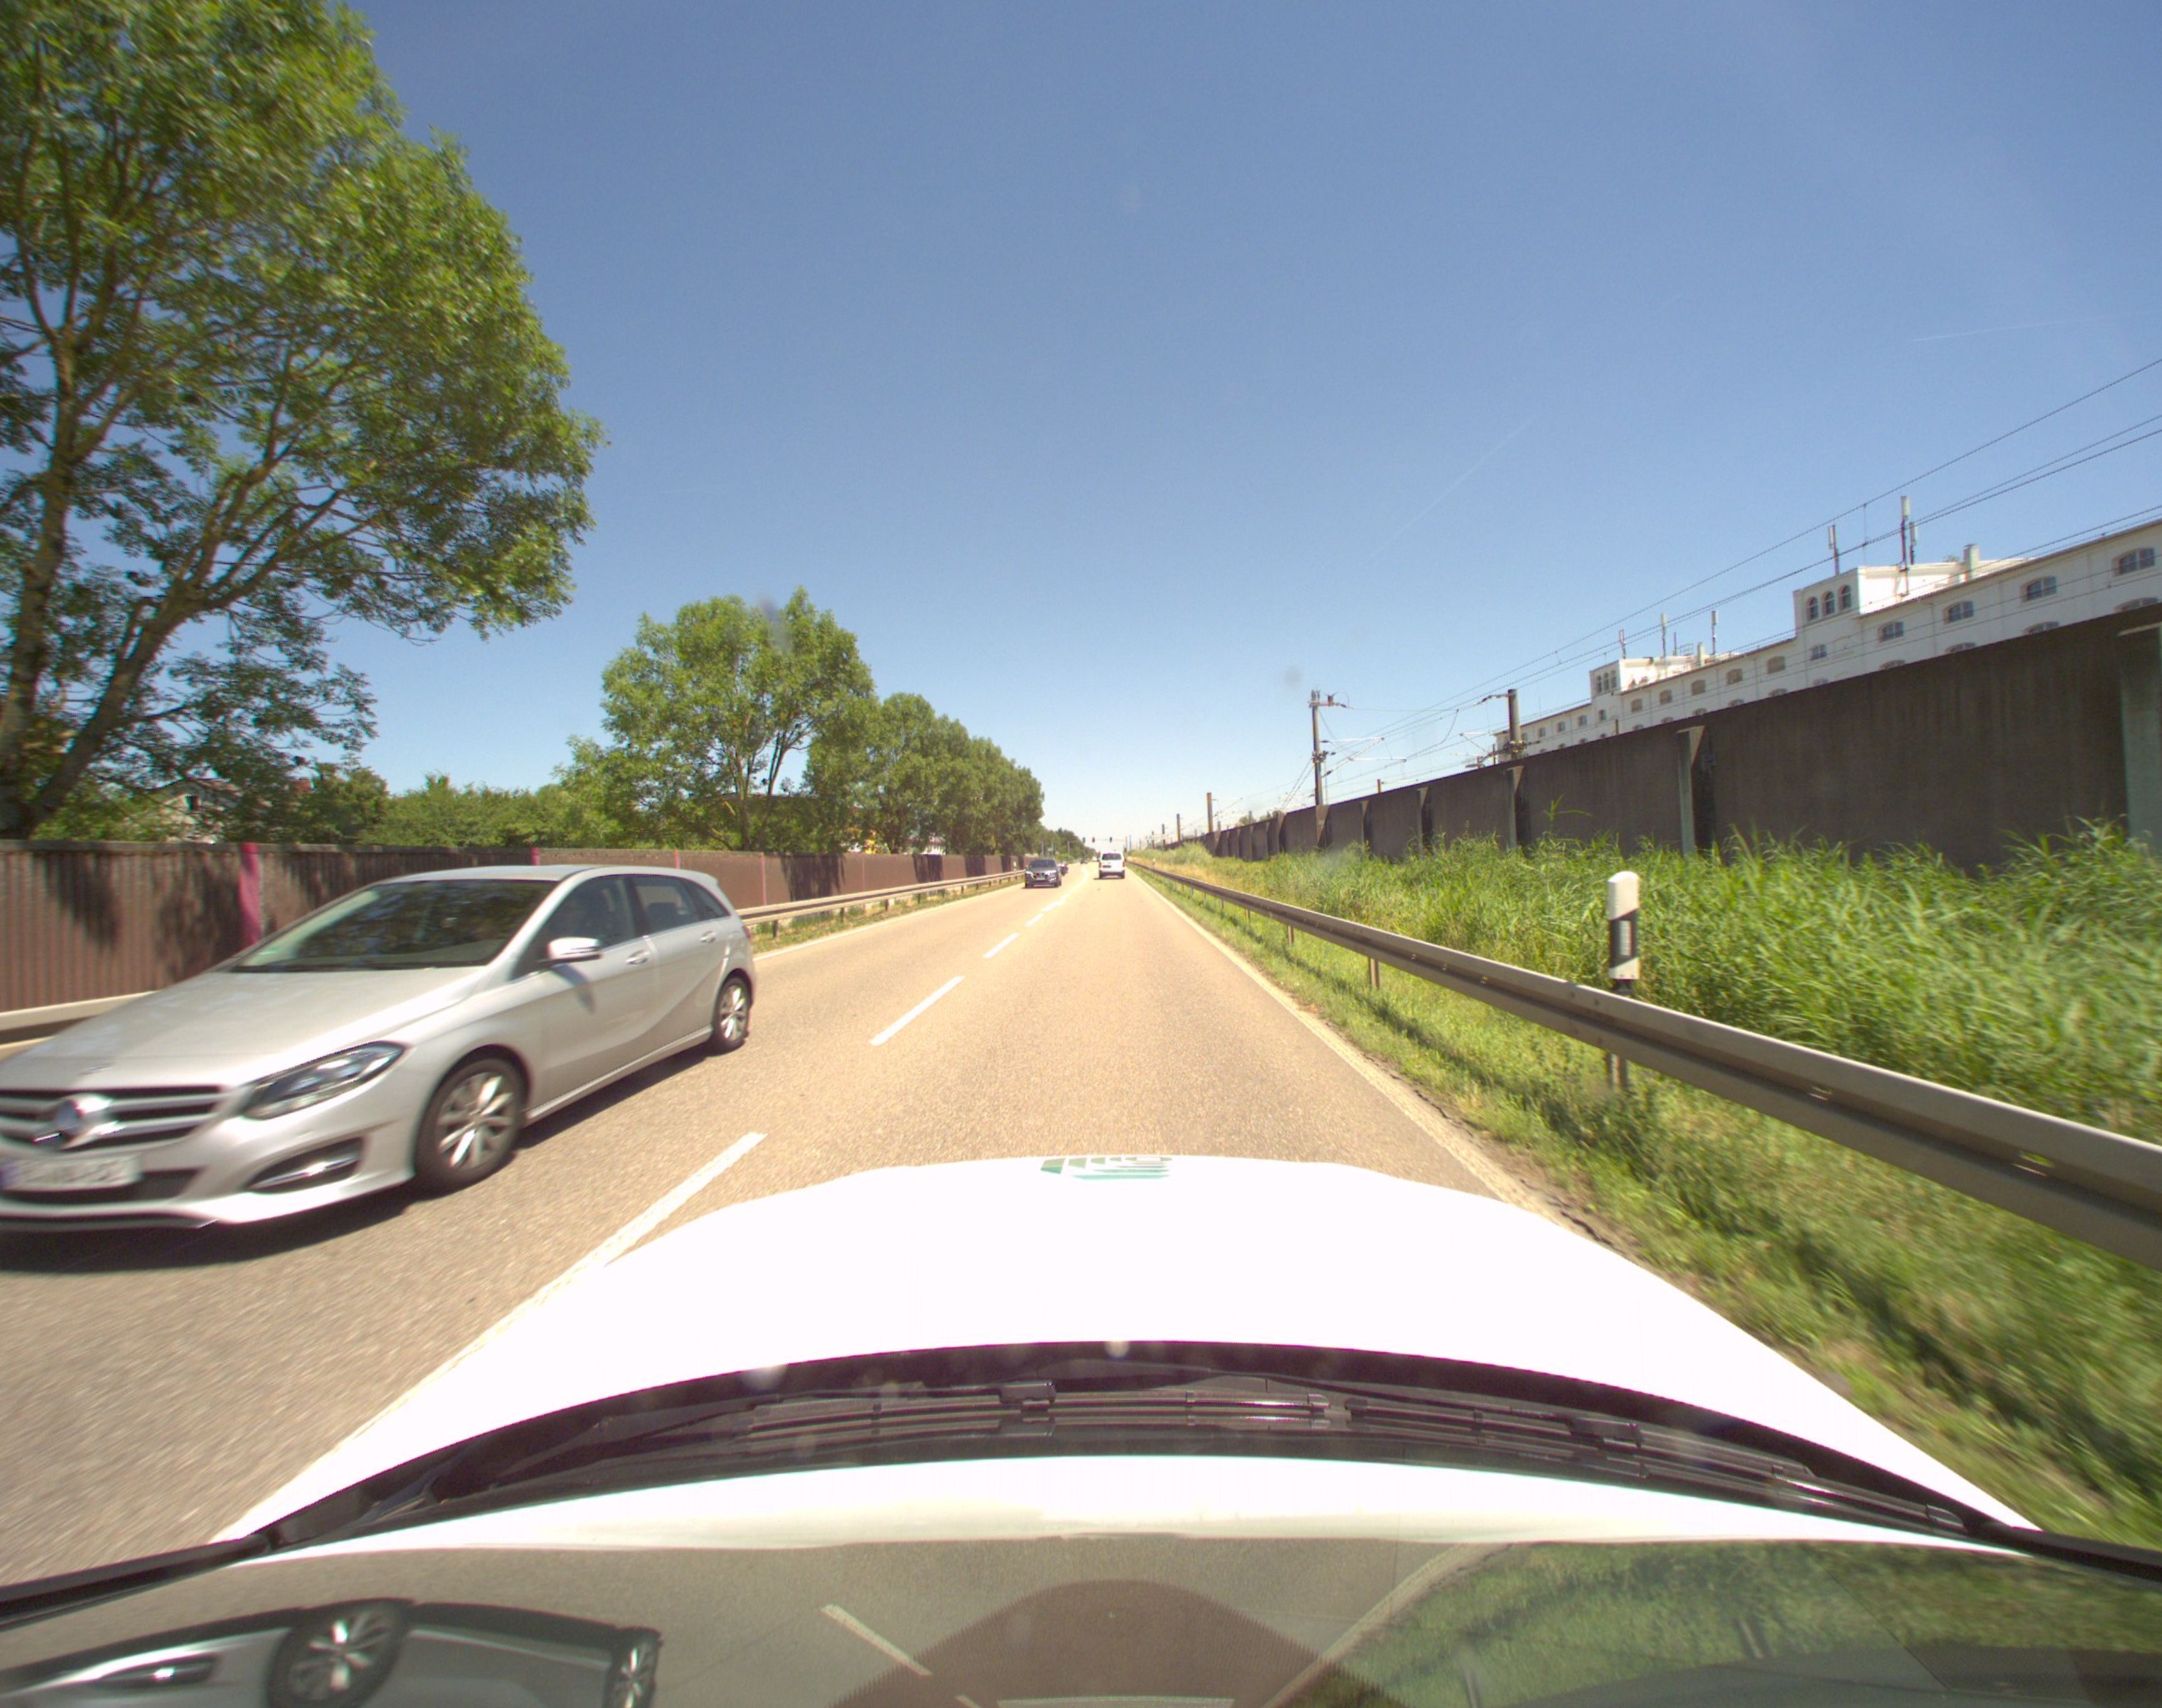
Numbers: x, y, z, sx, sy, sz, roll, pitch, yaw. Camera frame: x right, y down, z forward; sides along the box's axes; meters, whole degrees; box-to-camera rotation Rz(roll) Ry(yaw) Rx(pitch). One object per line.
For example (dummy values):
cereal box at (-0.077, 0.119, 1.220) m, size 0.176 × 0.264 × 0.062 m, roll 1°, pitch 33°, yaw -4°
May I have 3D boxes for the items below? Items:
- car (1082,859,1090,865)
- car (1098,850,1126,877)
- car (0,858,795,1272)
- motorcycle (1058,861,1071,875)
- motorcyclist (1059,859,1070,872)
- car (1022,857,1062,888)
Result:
car at (1.309, 1.973, 199.980) m, size 1.813 × 1.596 × 4.001 m, roll 0°, pitch 0°, yaw 1°
car at (2.249, 0.663, 58.744) m, size 1.986 × 1.850 × 4.002 m, roll 0°, pitch 0°, yaw 2°
car at (-3.637, 0.822, 5.284) m, size 1.782 × 1.525 × 4.393 m, roll -2°, pitch 0°, yaw 3°
motorcycle at (-1.419, 1.214, 70.956) m, size 0.950 × 1.108 × 2.336 m, roll 0°, pitch 0°, yaw 1°
motorcyclist at (-1.431, 0.998, 70.922) m, size 0.934 × 1.130 × 0.928 m, roll 1°, pitch 0°, yaw 1°
car at (-2.077, 0.964, 44.360) m, size 1.783 × 1.525 × 4.391 m, roll -2°, pitch 0°, yaw 1°
